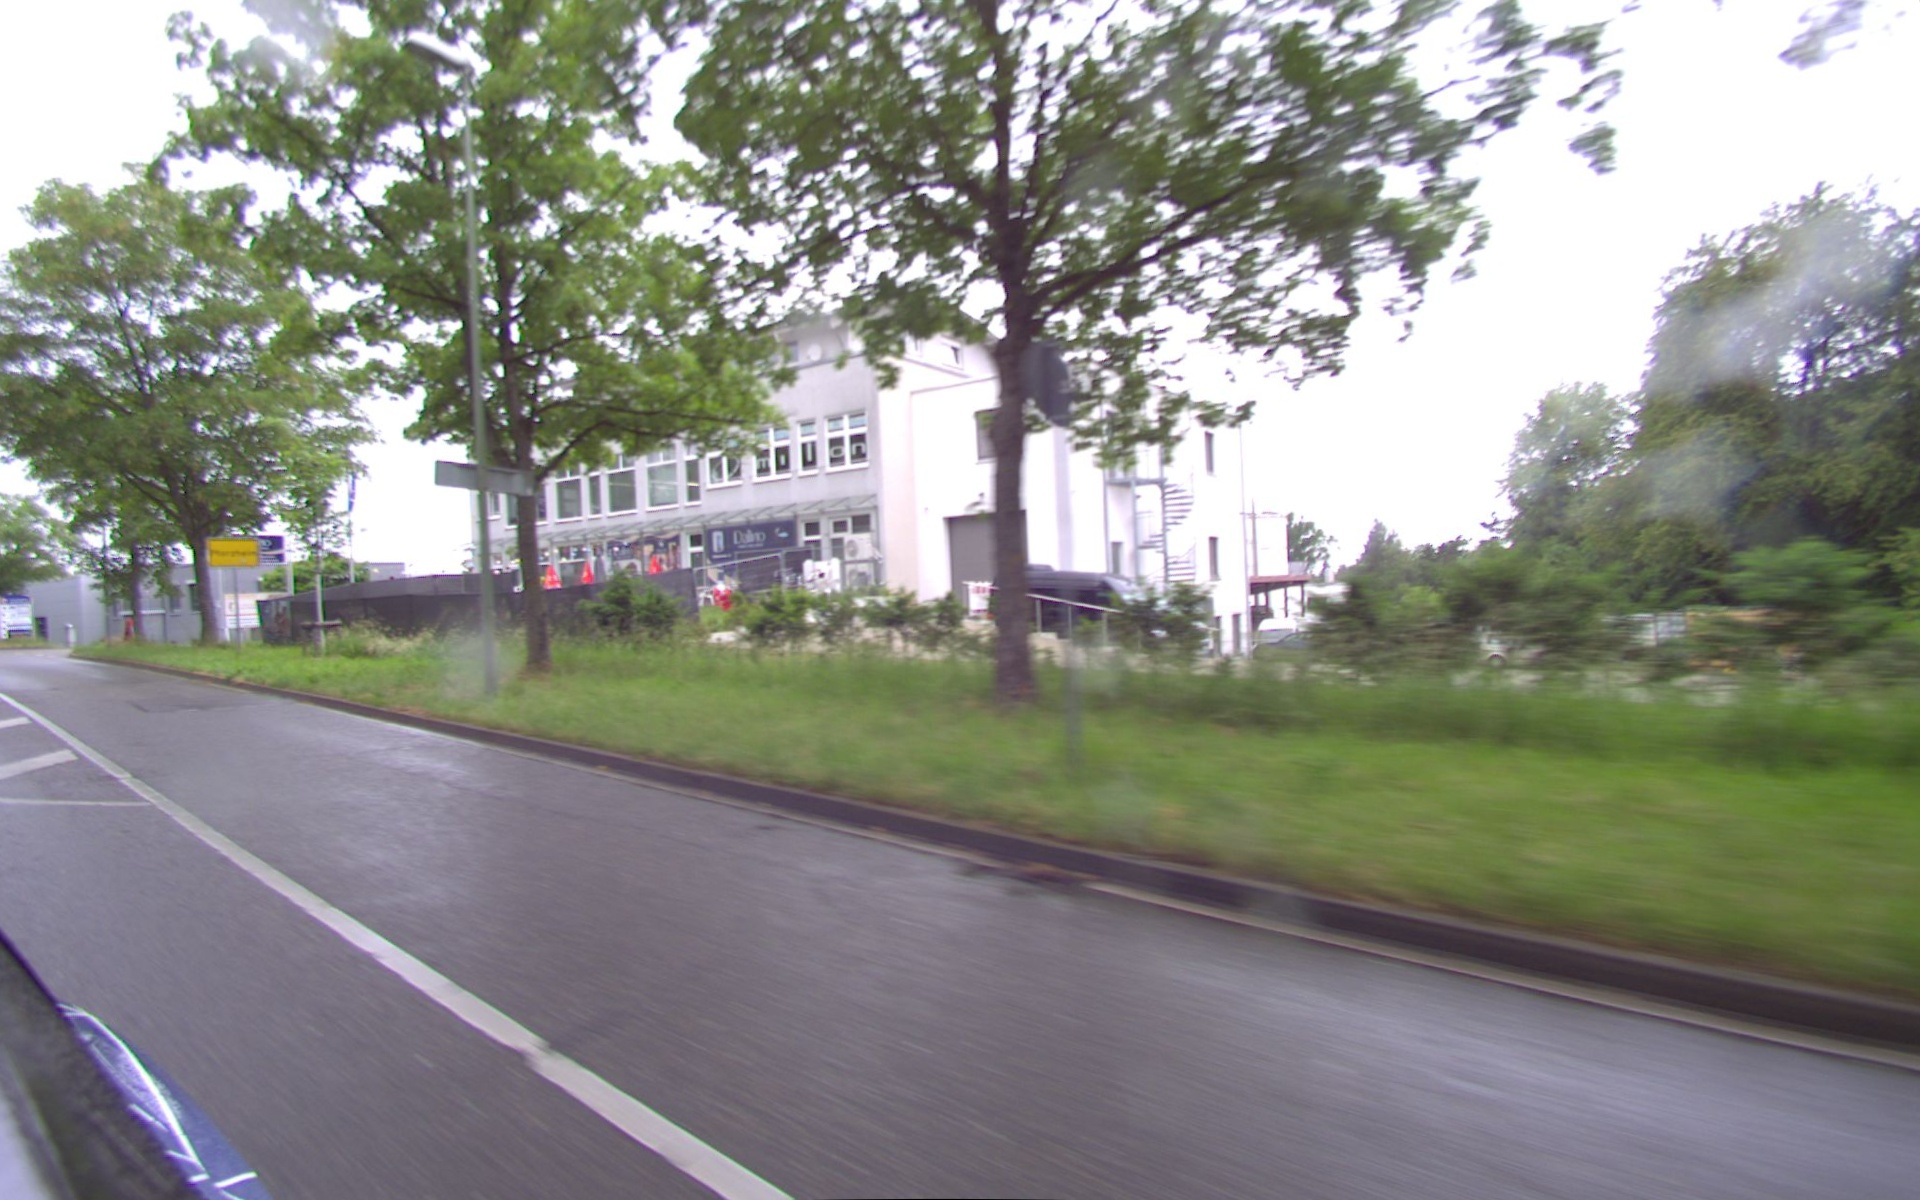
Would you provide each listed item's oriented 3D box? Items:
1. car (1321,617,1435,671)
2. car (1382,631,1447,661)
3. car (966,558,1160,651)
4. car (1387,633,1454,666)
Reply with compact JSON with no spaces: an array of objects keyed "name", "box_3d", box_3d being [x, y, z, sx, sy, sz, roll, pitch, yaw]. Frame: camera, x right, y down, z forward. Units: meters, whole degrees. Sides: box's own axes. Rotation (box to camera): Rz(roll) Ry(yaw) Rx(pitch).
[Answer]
[{"name":"car","box_3d":[16.899,1.750,40.973,3.991,2.029,1.750,-1,0,35]},{"name":"car","box_3d":[32.684,3.322,72.864,3.965,2.029,1.815,-1,0,17]},{"name":"car","box_3d":[2.872,0.041,29.092,5.221,1.929,1.887,9,6,37]},{"name":"car","box_3d":[30.745,3.304,67.729,3.974,2.029,1.985,-1,0,23]}]
